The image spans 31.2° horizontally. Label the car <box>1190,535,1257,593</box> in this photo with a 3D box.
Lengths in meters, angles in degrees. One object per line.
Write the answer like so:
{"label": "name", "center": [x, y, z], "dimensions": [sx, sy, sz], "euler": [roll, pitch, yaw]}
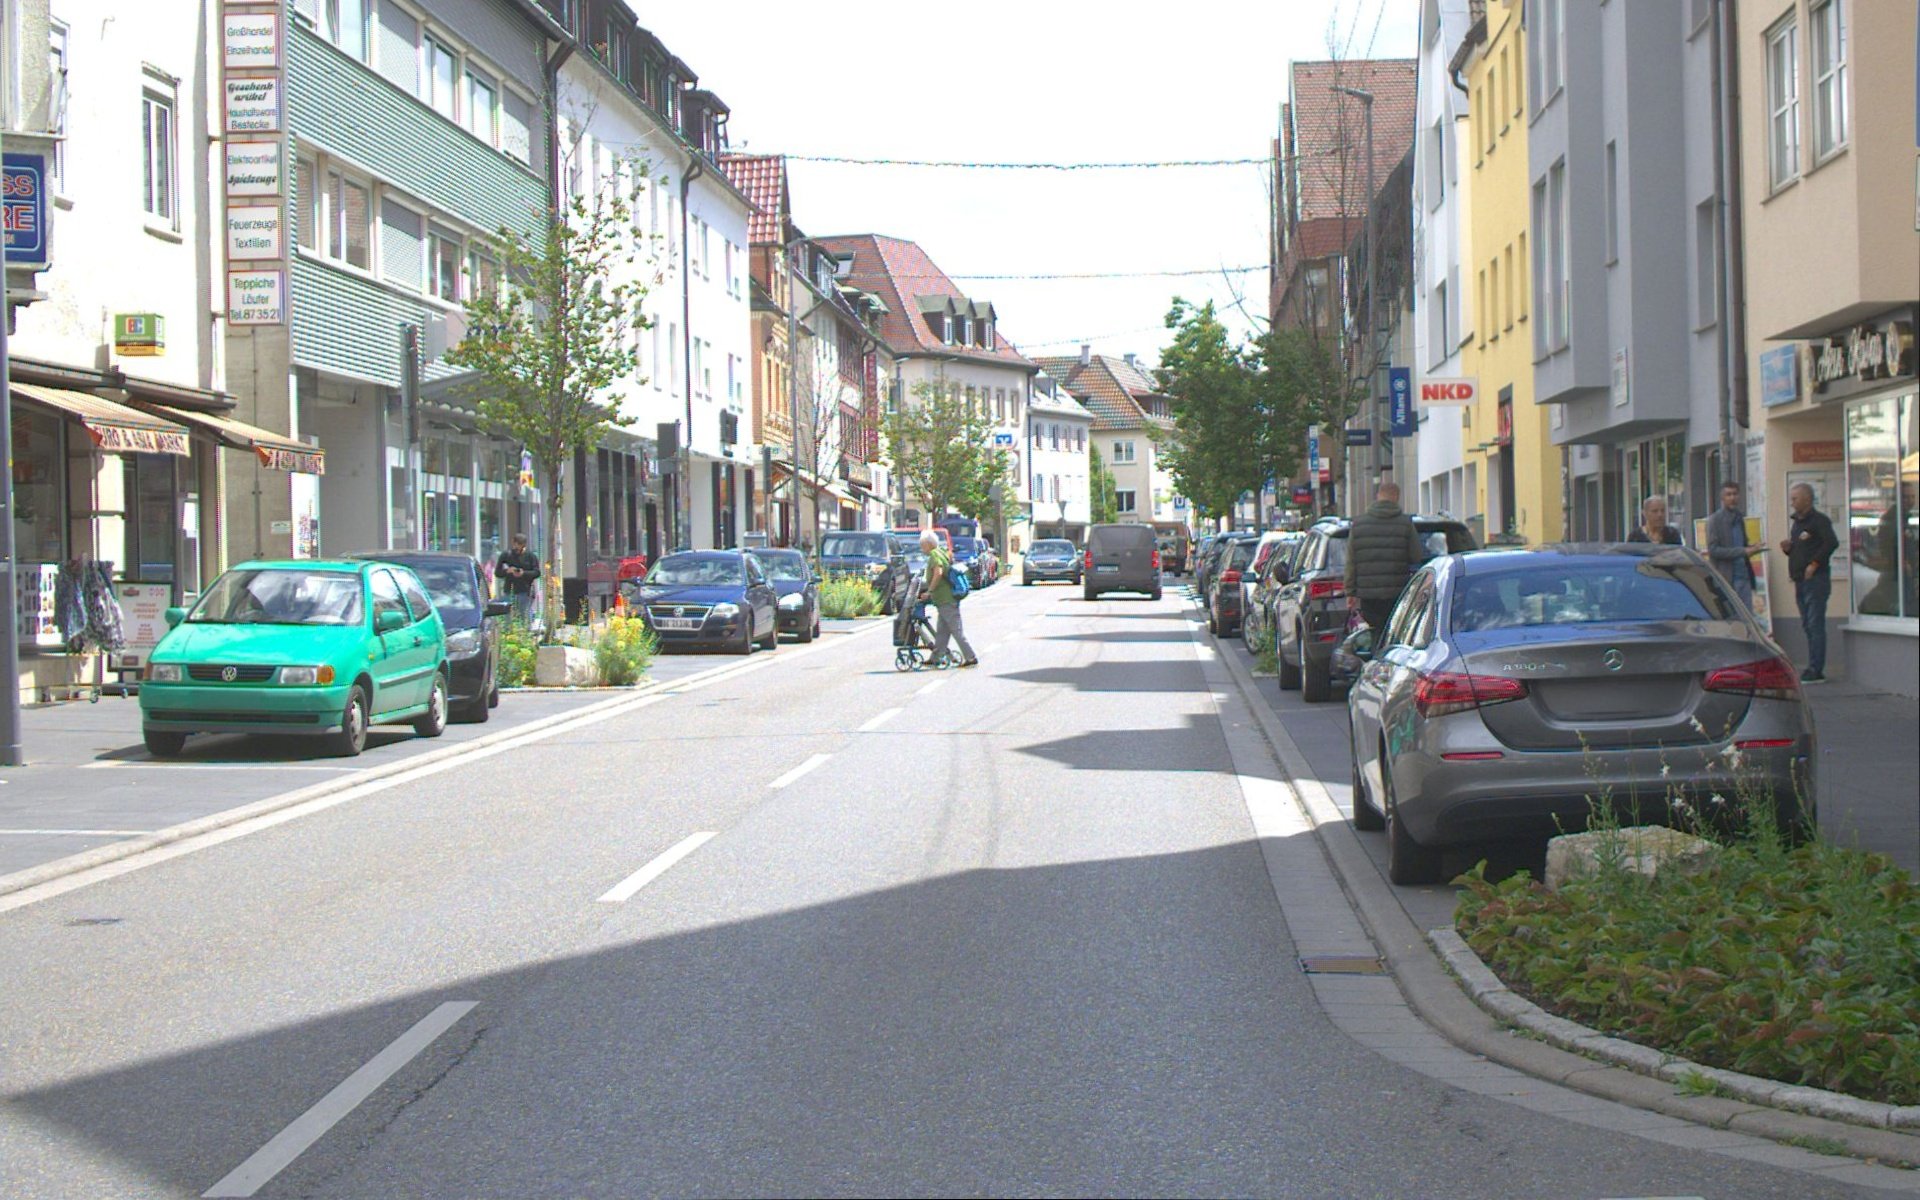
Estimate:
{"label": "car", "center": [7.032, -0.941, 91.515], "dimensions": [1.721, 1.488, 4.108], "euler": [1, 0, 5]}

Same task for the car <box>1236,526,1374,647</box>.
{"label": "car", "center": [4.671, -0.184, 46.993], "dimensions": [1.689, 1.568, 3.756], "euler": [1, 0, 3]}

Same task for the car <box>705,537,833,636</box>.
{"label": "car", "center": [-3.030, -0.239, 55.286], "dimensions": [1.790, 1.498, 4.178], "euler": [1, 1, 0]}

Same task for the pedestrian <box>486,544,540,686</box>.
{"label": "pedestrian", "center": [-5.582, 0.185, 42.929], "dimensions": [0.548, 1.751, 0.729], "euler": [1, 0, 0]}

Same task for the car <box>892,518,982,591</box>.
{"label": "car", "center": [-0.546, -1.101, 85.049], "dimensions": [1.816, 1.749, 4.463], "euler": [1, 0, 5]}

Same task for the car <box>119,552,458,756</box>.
{"label": "car", "center": [-5.001, 0.374, 26.047], "dimensions": [1.586, 1.409, 3.668], "euler": [1, 0, 4]}

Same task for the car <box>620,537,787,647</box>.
{"label": "car", "center": [-3.618, -0.140, 49.262], "dimensions": [1.790, 1.507, 4.712], "euler": [0, 1, 3]}

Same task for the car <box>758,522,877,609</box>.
{"label": "car", "center": [-2.952, -0.713, 72.142], "dimensions": [1.816, 1.749, 4.668], "euler": [1, 0, 6]}

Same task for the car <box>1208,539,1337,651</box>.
{"label": "car", "center": [4.610, -0.113, 51.193], "dimensions": [1.689, 1.467, 4.524], "euler": [1, 2, 3]}

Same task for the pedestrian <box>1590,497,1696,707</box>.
{"label": "pedestrian", "center": [5.648, 0.014, 28.446], "dimensions": [0.743, 1.712, 0.656], "euler": [-1, 0, 2]}

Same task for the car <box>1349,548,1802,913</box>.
{"label": "car", "center": [2.683, 0.507, 15.801], "dimensions": [1.707, 1.415, 4.317], "euler": [1, 0, 6]}

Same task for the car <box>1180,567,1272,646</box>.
{"label": "car", "center": [5.487, 0.125, 71.284], "dimensions": [1.721, 1.571, 4.109], "euler": [1, 0, 2]}

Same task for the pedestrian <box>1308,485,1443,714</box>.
{"label": "pedestrian", "center": [3.477, -0.005, 28.861], "dimensions": [0.975, 1.857, 0.864], "euler": [-2, 0, 2]}

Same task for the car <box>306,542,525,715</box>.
{"label": "car", "center": [-4.812, 0.234, 30.764], "dimensions": [1.597, 1.441, 3.557], "euler": [1, 0, -4]}

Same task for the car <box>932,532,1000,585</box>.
{"label": "car", "center": [0.202, -1.274, 105.634], "dimensions": [1.799, 1.592, 4.388], "euler": [0, 1, 4]}

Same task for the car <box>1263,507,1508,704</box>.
{"label": "car", "center": [3.802, 0.006, 31.341], "dimensions": [1.799, 1.598, 4.204], "euler": [-2, 1, 2]}

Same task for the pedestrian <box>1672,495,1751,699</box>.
{"label": "pedestrian", "center": [6.403, -0.029, 29.301], "dimensions": [0.535, 1.712, 0.606], "euler": [1, 0, 2]}

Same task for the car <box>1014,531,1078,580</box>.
{"label": "car", "center": [2.859, -1.459, 113.846], "dimensions": [1.905, 1.558, 4.645], "euler": [1, 0, 4]}

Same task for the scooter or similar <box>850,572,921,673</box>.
{"label": "scooter or similar", "center": [-0.839, 0.247, 38.936], "dimensions": [0.781, 1.122, 0.630], "euler": [1, 0, -1]}

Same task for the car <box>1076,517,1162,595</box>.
{"label": "car", "center": [3.959, -1.072, 84.856], "dimensions": [2.041, 1.842, 4.999], "euler": [1, 0, 3]}

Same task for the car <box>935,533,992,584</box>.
{"label": "car", "center": [0.127, -1.363, 111.177], "dimensions": [1.799, 1.598, 4.351], "euler": [-1, 1, 0]}

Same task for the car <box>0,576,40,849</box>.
{"label": "car", "center": [-5.840, 0.570, 16.273], "dimensions": [1.845, 1.393, 4.037], "euler": [1, 0, 0]}

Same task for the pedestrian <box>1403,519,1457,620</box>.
{"label": "pedestrian", "center": [7.345, -0.472, 53.787], "dimensions": [0.750, 1.548, 0.726], "euler": [-1, 0, 3]}

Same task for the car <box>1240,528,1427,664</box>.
{"label": "car", "center": [4.372, -0.053, 40.818], "dimensions": [1.689, 1.435, 4.296], "euler": [-3, 0, 0]}

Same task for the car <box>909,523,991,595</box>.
{"label": "car", "center": [-0.241, -1.097, 92.925], "dimensions": [1.816, 1.882, 4.840], "euler": [1, 0, 4]}

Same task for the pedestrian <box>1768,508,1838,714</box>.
{"label": "pedestrian", "center": [7.087, 0.087, 28.919], "dimensions": [0.435, 1.712, 0.537], "euler": [1, 0, 1]}

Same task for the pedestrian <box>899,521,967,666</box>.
{"label": "pedestrian", "center": [-0.310, -0.073, 38.942], "dimensions": [0.731, 1.612, 0.651], "euler": [1, 0, -1]}
